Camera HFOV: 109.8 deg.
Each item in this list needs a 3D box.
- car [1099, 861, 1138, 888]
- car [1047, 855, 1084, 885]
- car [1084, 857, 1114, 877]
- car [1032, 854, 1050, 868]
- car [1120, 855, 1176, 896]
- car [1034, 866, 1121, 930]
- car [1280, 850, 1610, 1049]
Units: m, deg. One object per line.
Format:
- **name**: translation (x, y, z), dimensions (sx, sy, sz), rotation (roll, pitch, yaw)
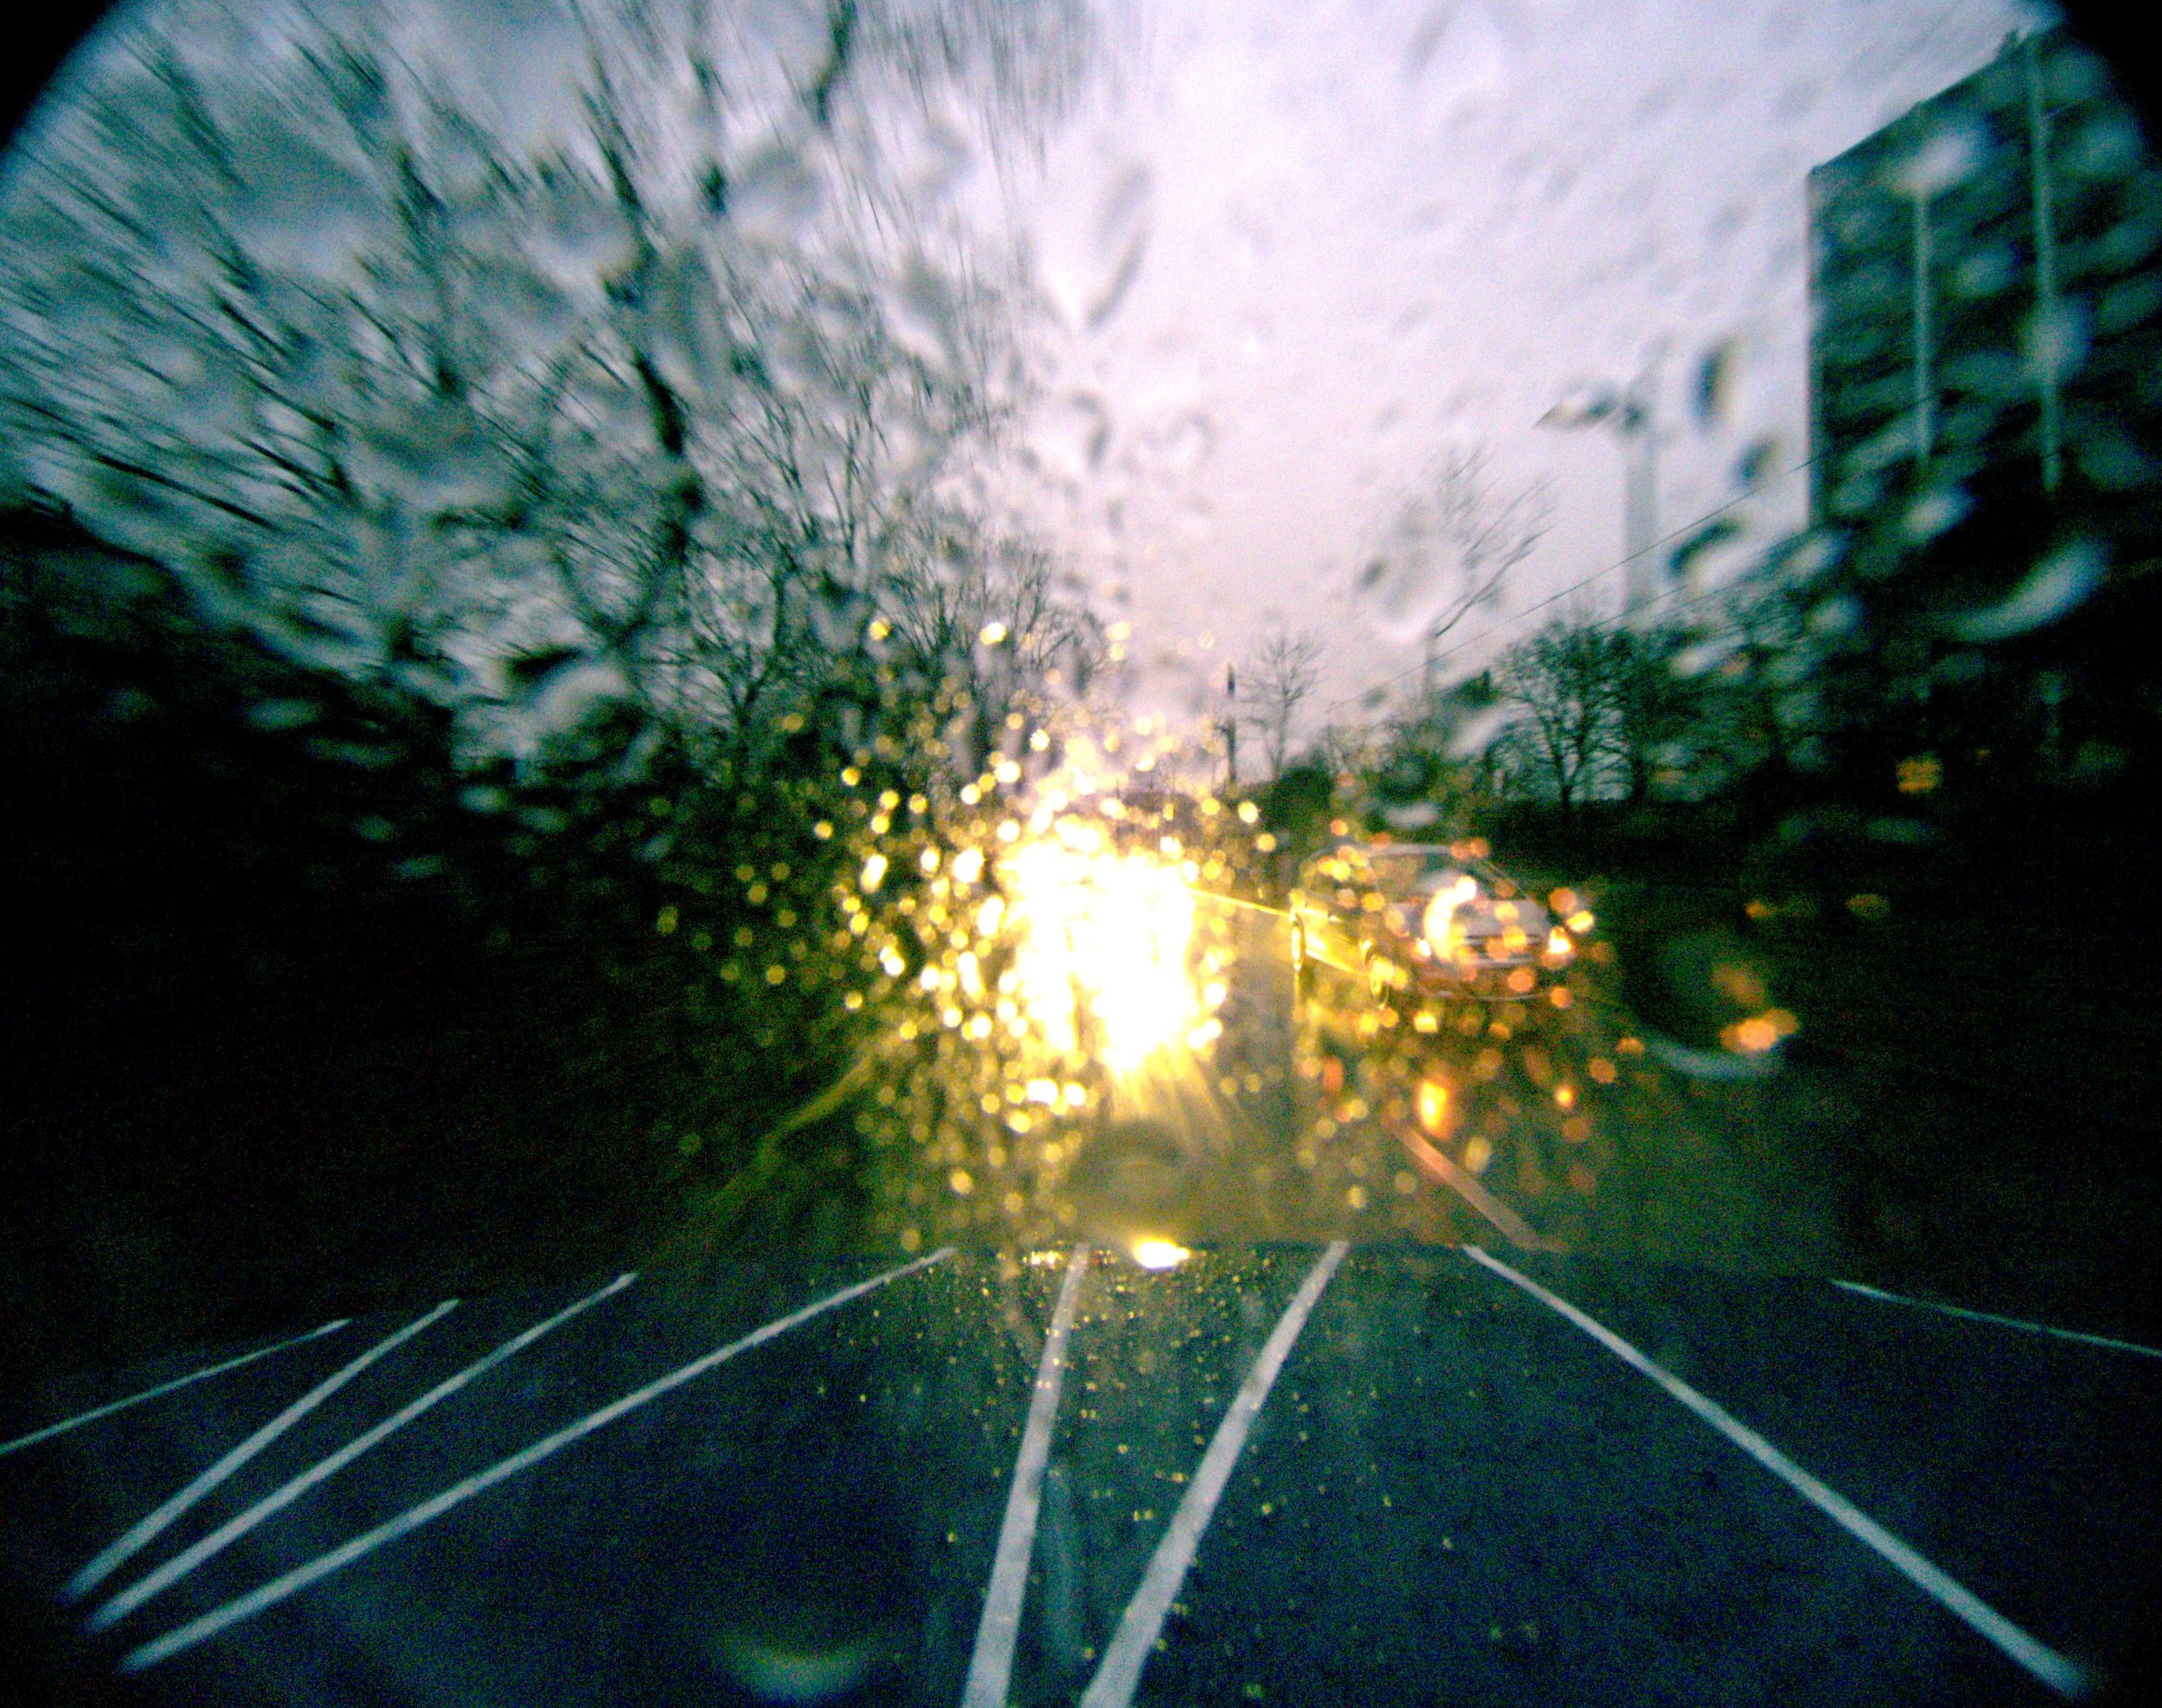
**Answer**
- **car**: translation (2.284, 1.251, 47.533), dimensions (1.845, 1.546, 4.215), rotation (-2, 0, -5)
- **car**: translation (-0.935, 0.852, 43.383), dimensions (1.950, 1.546, 4.216), rotation (-2, 0, -2)
- **car**: translation (1.445, 1.054, 63.220), dimensions (1.950, 1.546, 4.215), rotation (-2, 0, -6)
- **car**: translation (-5.094, 0.866, 95.677), dimensions (1.950, 1.546, 4.215), rotation (-2, 0, -6)
- **car**: translation (2.796, 0.860, 32.660), dimensions (1.924, 1.546, 4.216), rotation (-2, 0, -1)
- **car**: translation (-0.150, 1.010, 18.942), dimensions (1.897, 1.347, 4.289), rotation (-1, 0, -2)
- **car**: translation (3.476, 0.780, 8.146), dimensions (1.669, 1.566, 3.923), rotation (-2, 0, 1)
